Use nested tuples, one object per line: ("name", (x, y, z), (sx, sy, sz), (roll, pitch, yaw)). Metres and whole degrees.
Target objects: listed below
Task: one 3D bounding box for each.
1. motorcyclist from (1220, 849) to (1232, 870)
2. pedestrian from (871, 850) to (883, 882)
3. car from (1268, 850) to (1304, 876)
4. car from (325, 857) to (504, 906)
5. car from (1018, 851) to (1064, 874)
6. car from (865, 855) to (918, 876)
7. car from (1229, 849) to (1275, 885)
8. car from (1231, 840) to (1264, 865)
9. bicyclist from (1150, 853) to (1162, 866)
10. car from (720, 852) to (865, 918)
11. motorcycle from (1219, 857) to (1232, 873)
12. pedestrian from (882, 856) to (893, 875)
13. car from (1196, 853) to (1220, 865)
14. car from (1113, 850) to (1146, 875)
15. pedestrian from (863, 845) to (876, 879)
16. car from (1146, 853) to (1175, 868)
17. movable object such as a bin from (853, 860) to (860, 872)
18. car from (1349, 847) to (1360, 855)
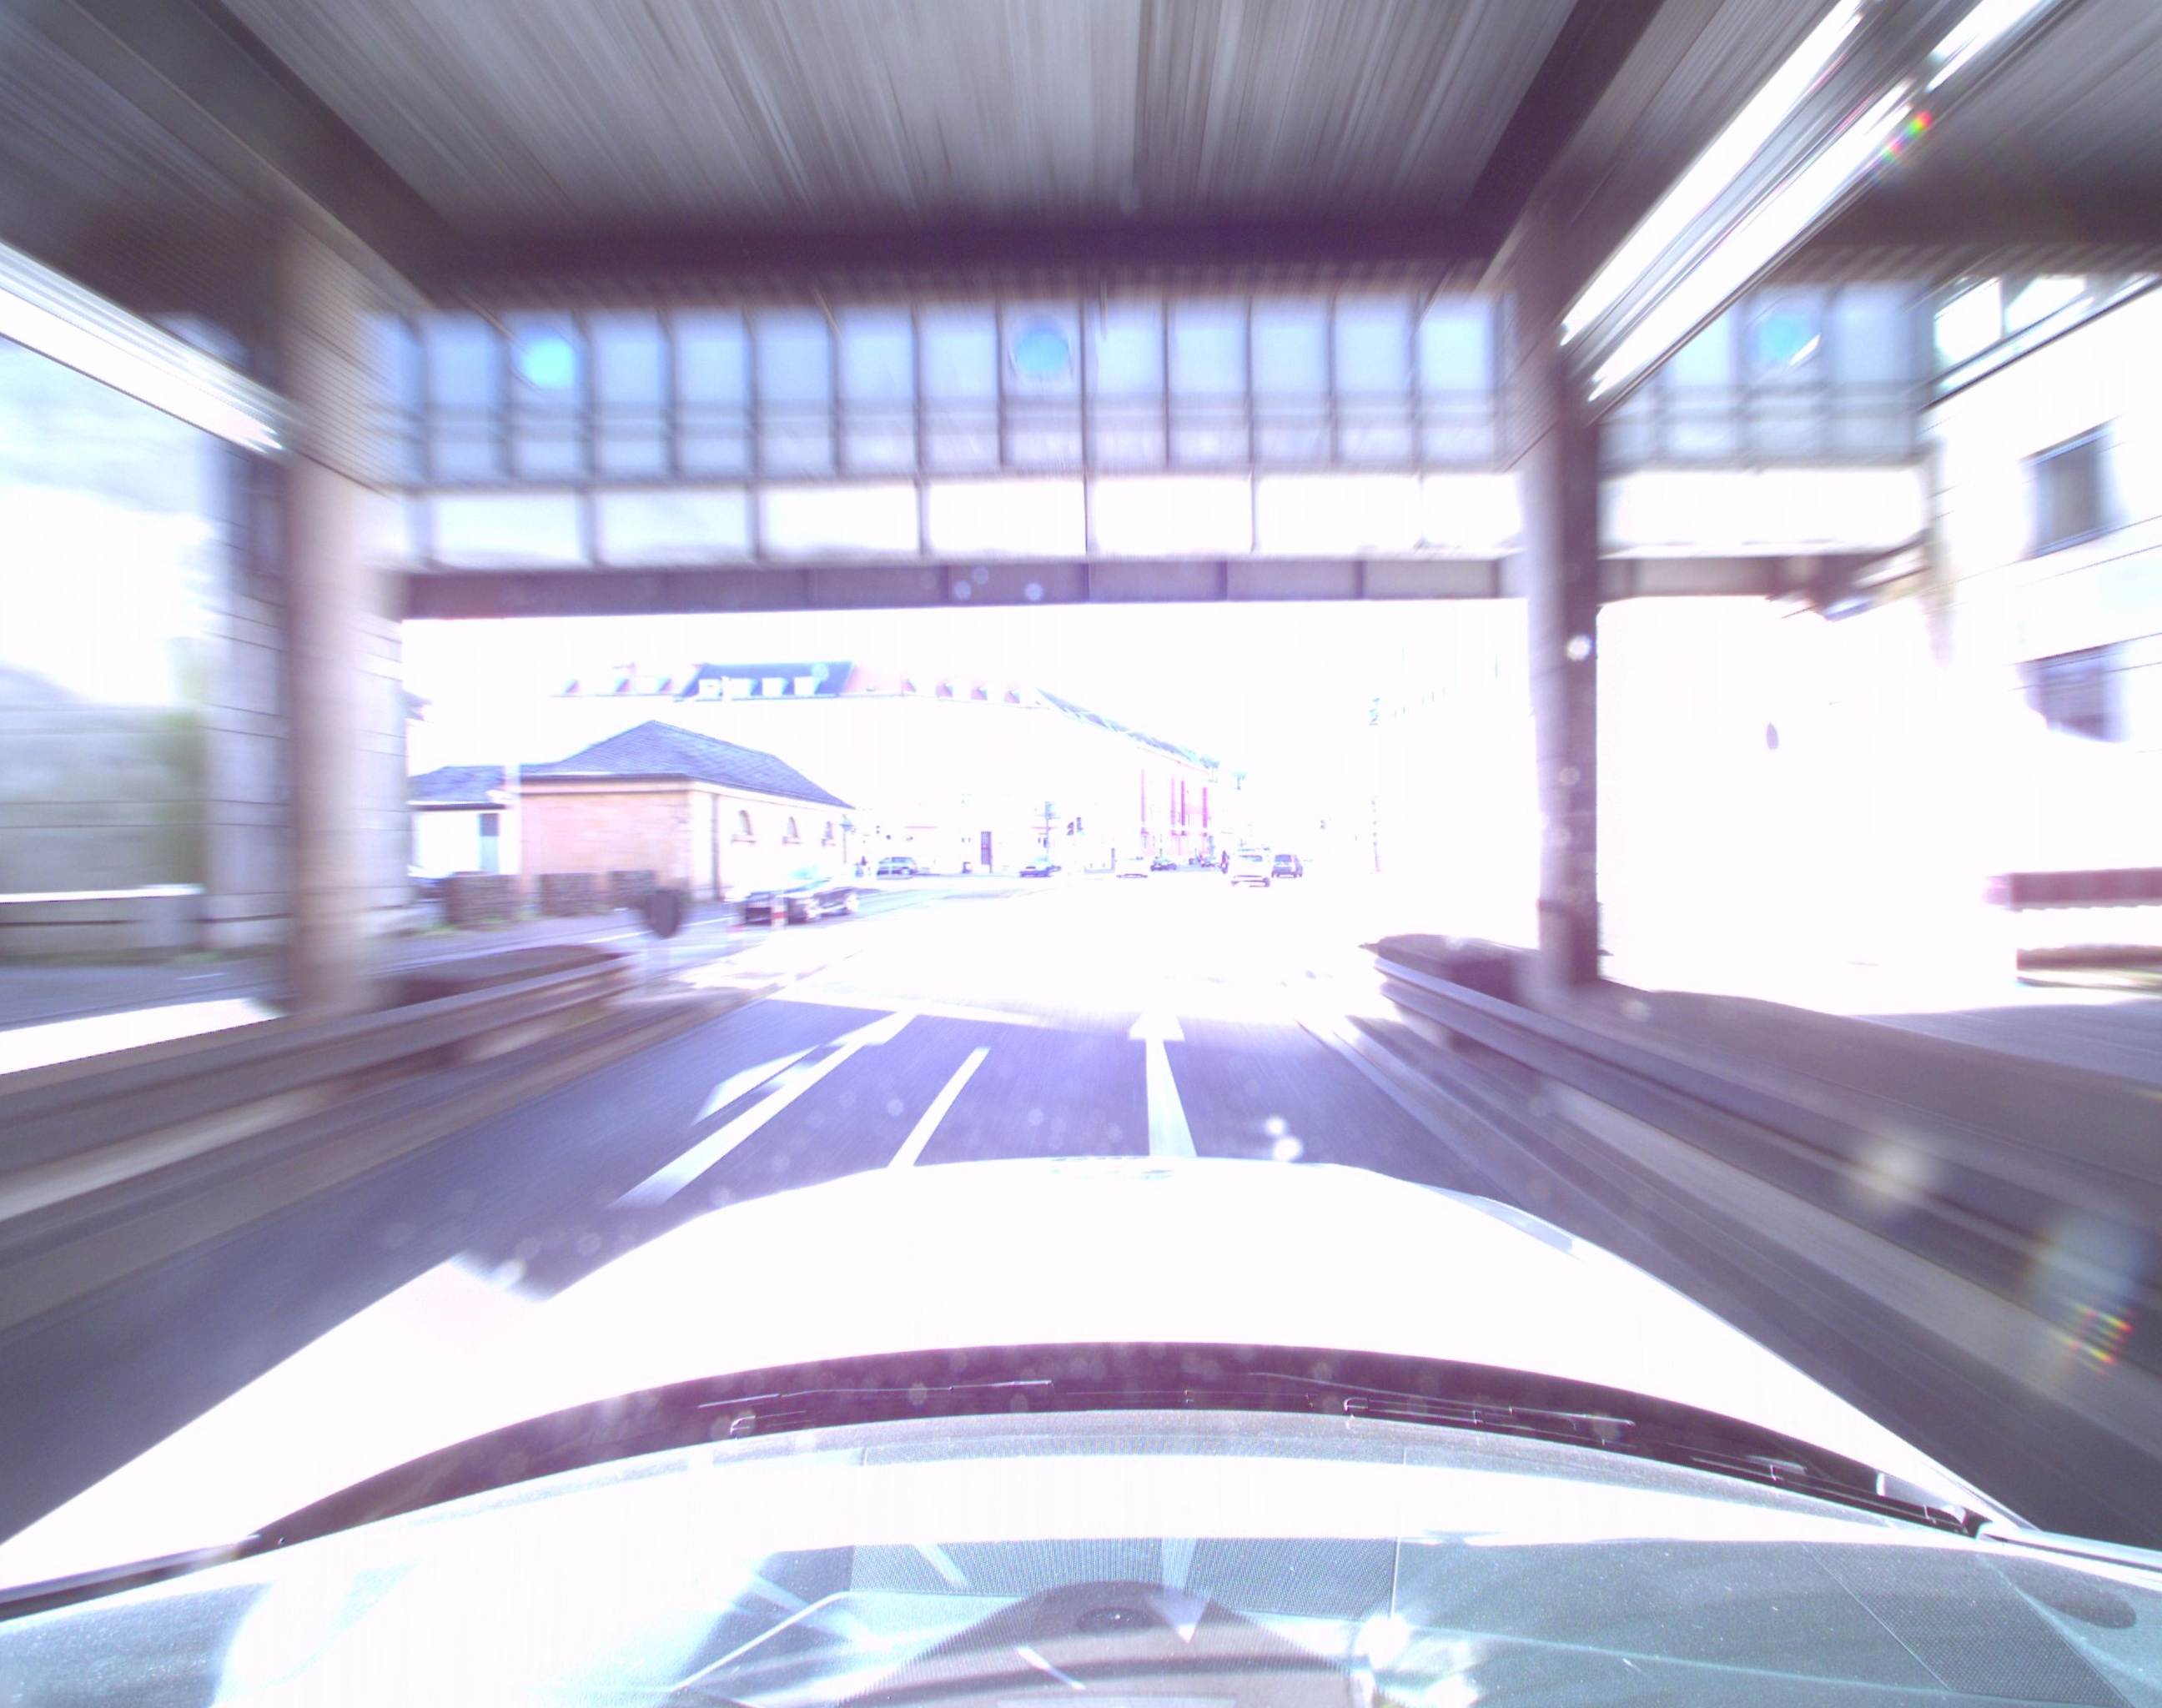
("motorcyclist", (10.062, 0.405, 56.672), (0.772, 1.423, 0.894), (-1, 0, 12))
("pedestrian", (-10.544, 0.627, 42.077), (0.490, 1.640, 0.620), (-1, 0, -26))
("car", (12.519, 0.500, 49.675), (1.717, 1.500, 4.020), (-1, 0, 20))
("car", (-20.432, 0.814, 25.080), (3.972, 1.398, 1.811), (-1, 0, 1))
("car", (-2.497, 0.525, 51.684), (1.798, 1.391, 4.262), (-1, 0, 13))
("car", (-14.832, 0.856, 63.928), (3.863, 1.574, 1.926), (-1, 0, -6))
("car", (7.775, 0.541, 37.160), (1.935, 1.528, 4.102), (-1, 0, 11))
("car", (13.952, -0.123, 68.093), (2.155, 2.009, 4.830), (-1, 0, 18))
("bicyclist", (8.089, 0.627, 87.557), (0.925, 1.382, 1.155), (-1, 0, 27))
("car", (-6.845, 0.675, 19.875), (1.745, 1.405, 4.419), (-1, 0, 3))
("motorcycle", (10.063, 0.740, 56.746), (0.772, 1.082, 2.289), (-1, 0, 12))
("pedestrian", (-16.035, 0.947, 67.471), (0.717, 1.563, 0.676), (-1, 0, -7))
("car", (15.891, 0.588, 101.641), (1.977, 1.392, 4.585), (-1, 0, 21))
("car", (2.842, 0.480, 48.282), (1.780, 1.394, 4.105), (-1, 0, 1))
("pedestrian", (-10.259, 0.374, 39.508), (0.516, 1.640, 0.620), (-1, 0, -26))
("car", (7.905, 0.629, 80.505), (1.808, 1.425, 4.349), (-1, 0, 20))
("movable object such as a bin", (-18.651, 1.000, 67.714), (0.447, 1.032, 0.482), (-1, 0, 1))
("car", (61.249, -0.694, 182.271), (1.976, 1.662, 4.521), (-1, 0, 21))
